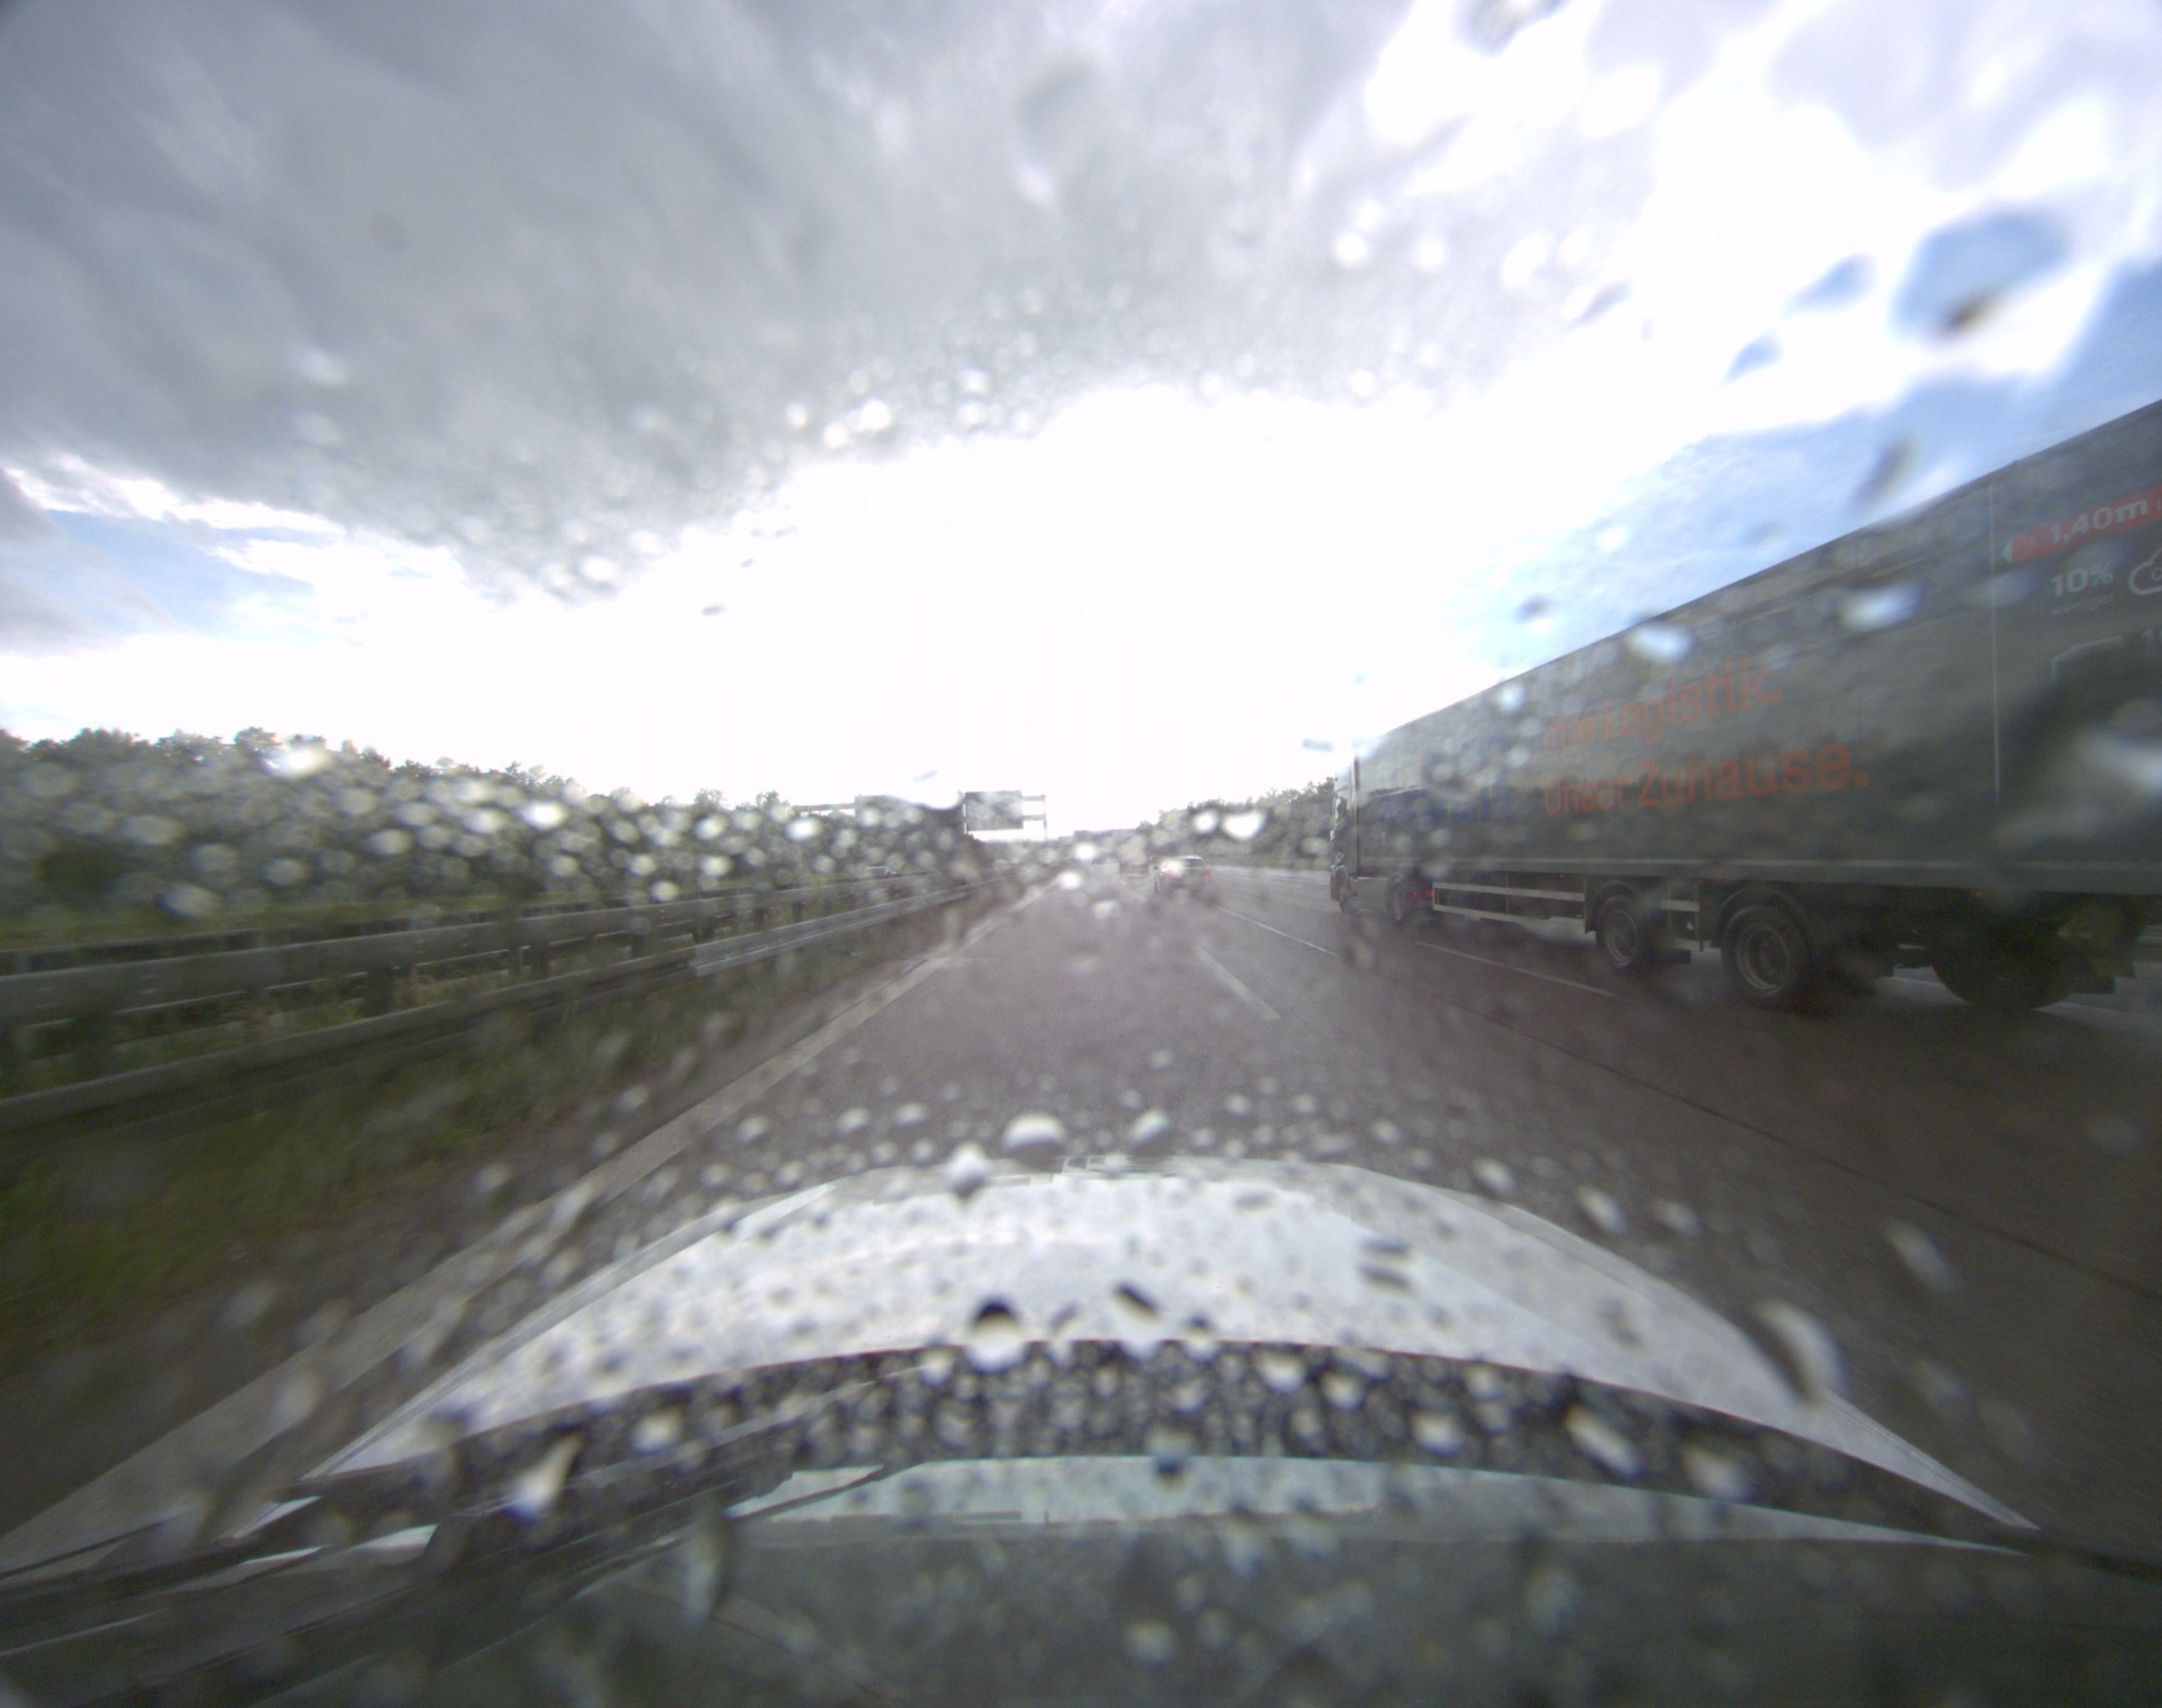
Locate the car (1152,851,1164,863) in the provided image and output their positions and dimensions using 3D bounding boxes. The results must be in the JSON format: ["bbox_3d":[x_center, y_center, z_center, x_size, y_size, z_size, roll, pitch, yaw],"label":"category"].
[{"bbox_3d":[12.921,0.430,136.983,1.984,2.013,4.006,0,0,5],"label":"car"}]

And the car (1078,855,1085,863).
[{"bbox_3d":[0.150,1.296,211.946,1.611,2.013,4.002,0,0,2],"label":"car"}]

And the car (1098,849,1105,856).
[{"bbox_3d":[6.317,-0.550,250.656,1.986,2.013,4.002,0,0,2],"label":"car"}]

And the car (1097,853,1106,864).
[{"bbox_3d":[3.798,0.806,152.649,1.668,2.013,4.002,0,0,2],"label":"car"}]

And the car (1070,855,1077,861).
[{"bbox_3d":[-2.367,1.313,260.151,1.787,2.013,4.004,0,0,3],"label":"car"}]

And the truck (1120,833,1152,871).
[{"bbox_3d":[3.913,-0.153,57.942,2.128,2.489,5.319,-1,0,4],"label":"truck"}]

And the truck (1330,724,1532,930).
[{"bbox_3d":[7.472,-0.507,18.180,2.285,3.868,5.394,-1,0,2],"label":"truck"}]

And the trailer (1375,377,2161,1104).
[{"bbox_3d":[7.271,-0.638,10.540,2.315,4.001,13.415,-1,0,1],"label":"trailer"}]

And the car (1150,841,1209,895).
[{"bbox_3d":[3.723,0.487,31.272,2.067,1.885,5.019,-1,0,5],"label":"car"}]

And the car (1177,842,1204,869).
[{"bbox_3d":[8.528,0.135,63.930,1.899,2.013,4.006,-1,0,5],"label":"car"}]
